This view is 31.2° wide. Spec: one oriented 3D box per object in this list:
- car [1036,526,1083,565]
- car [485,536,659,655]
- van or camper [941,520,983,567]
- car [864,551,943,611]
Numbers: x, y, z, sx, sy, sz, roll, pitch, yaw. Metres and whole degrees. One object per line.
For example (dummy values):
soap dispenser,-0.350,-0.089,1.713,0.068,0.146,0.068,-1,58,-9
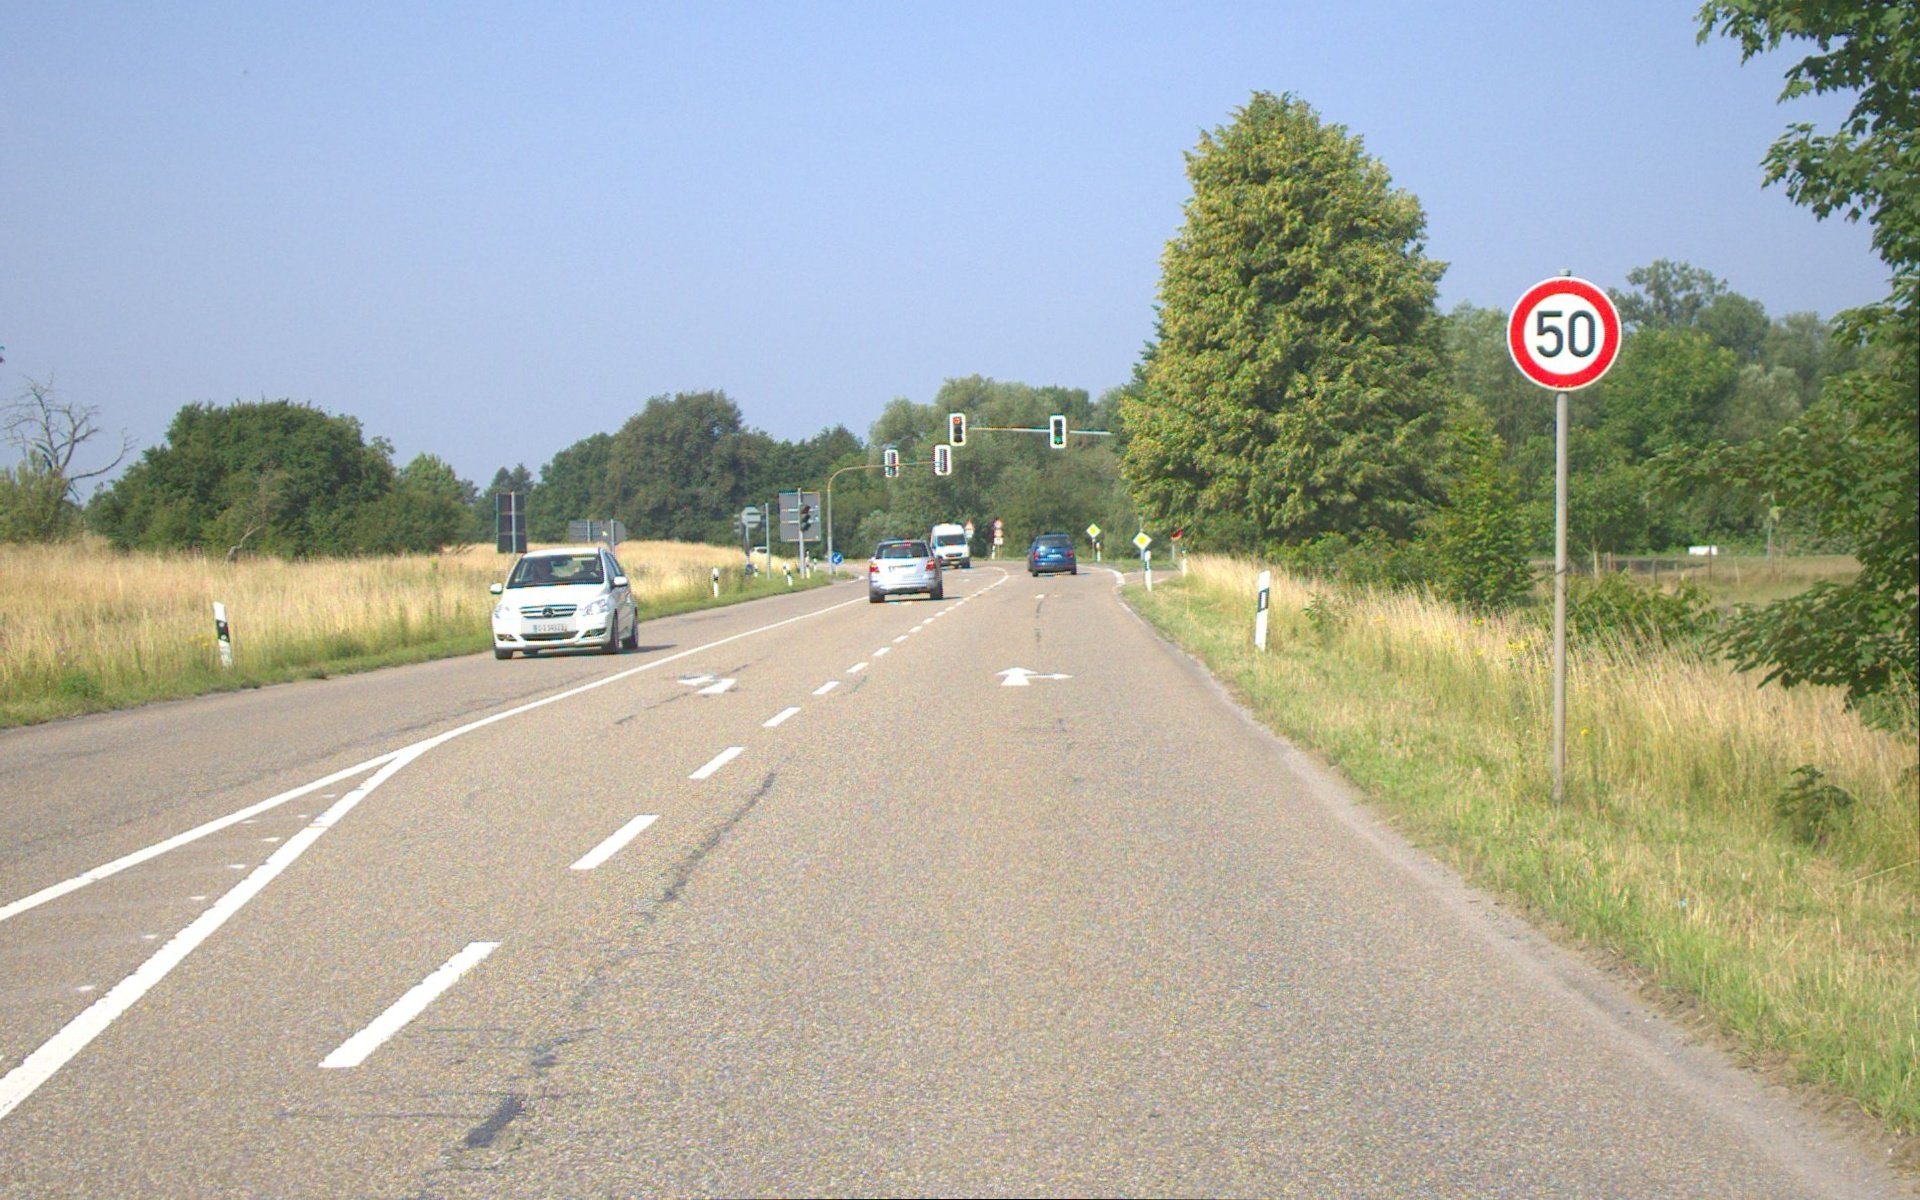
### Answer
car,3.992,-2.182,137.377,1.816,1.515,4.000,-1,1,2
car,-5.717,-0.099,51.121,1.812,1.579,4.224,-3,1,3
van or camper,0.144,-3.392,205.816,2.265,2.700,5.262,1,1,3
car,-1.470,-0.513,90.565,1.899,1.506,4.000,1,1,1
